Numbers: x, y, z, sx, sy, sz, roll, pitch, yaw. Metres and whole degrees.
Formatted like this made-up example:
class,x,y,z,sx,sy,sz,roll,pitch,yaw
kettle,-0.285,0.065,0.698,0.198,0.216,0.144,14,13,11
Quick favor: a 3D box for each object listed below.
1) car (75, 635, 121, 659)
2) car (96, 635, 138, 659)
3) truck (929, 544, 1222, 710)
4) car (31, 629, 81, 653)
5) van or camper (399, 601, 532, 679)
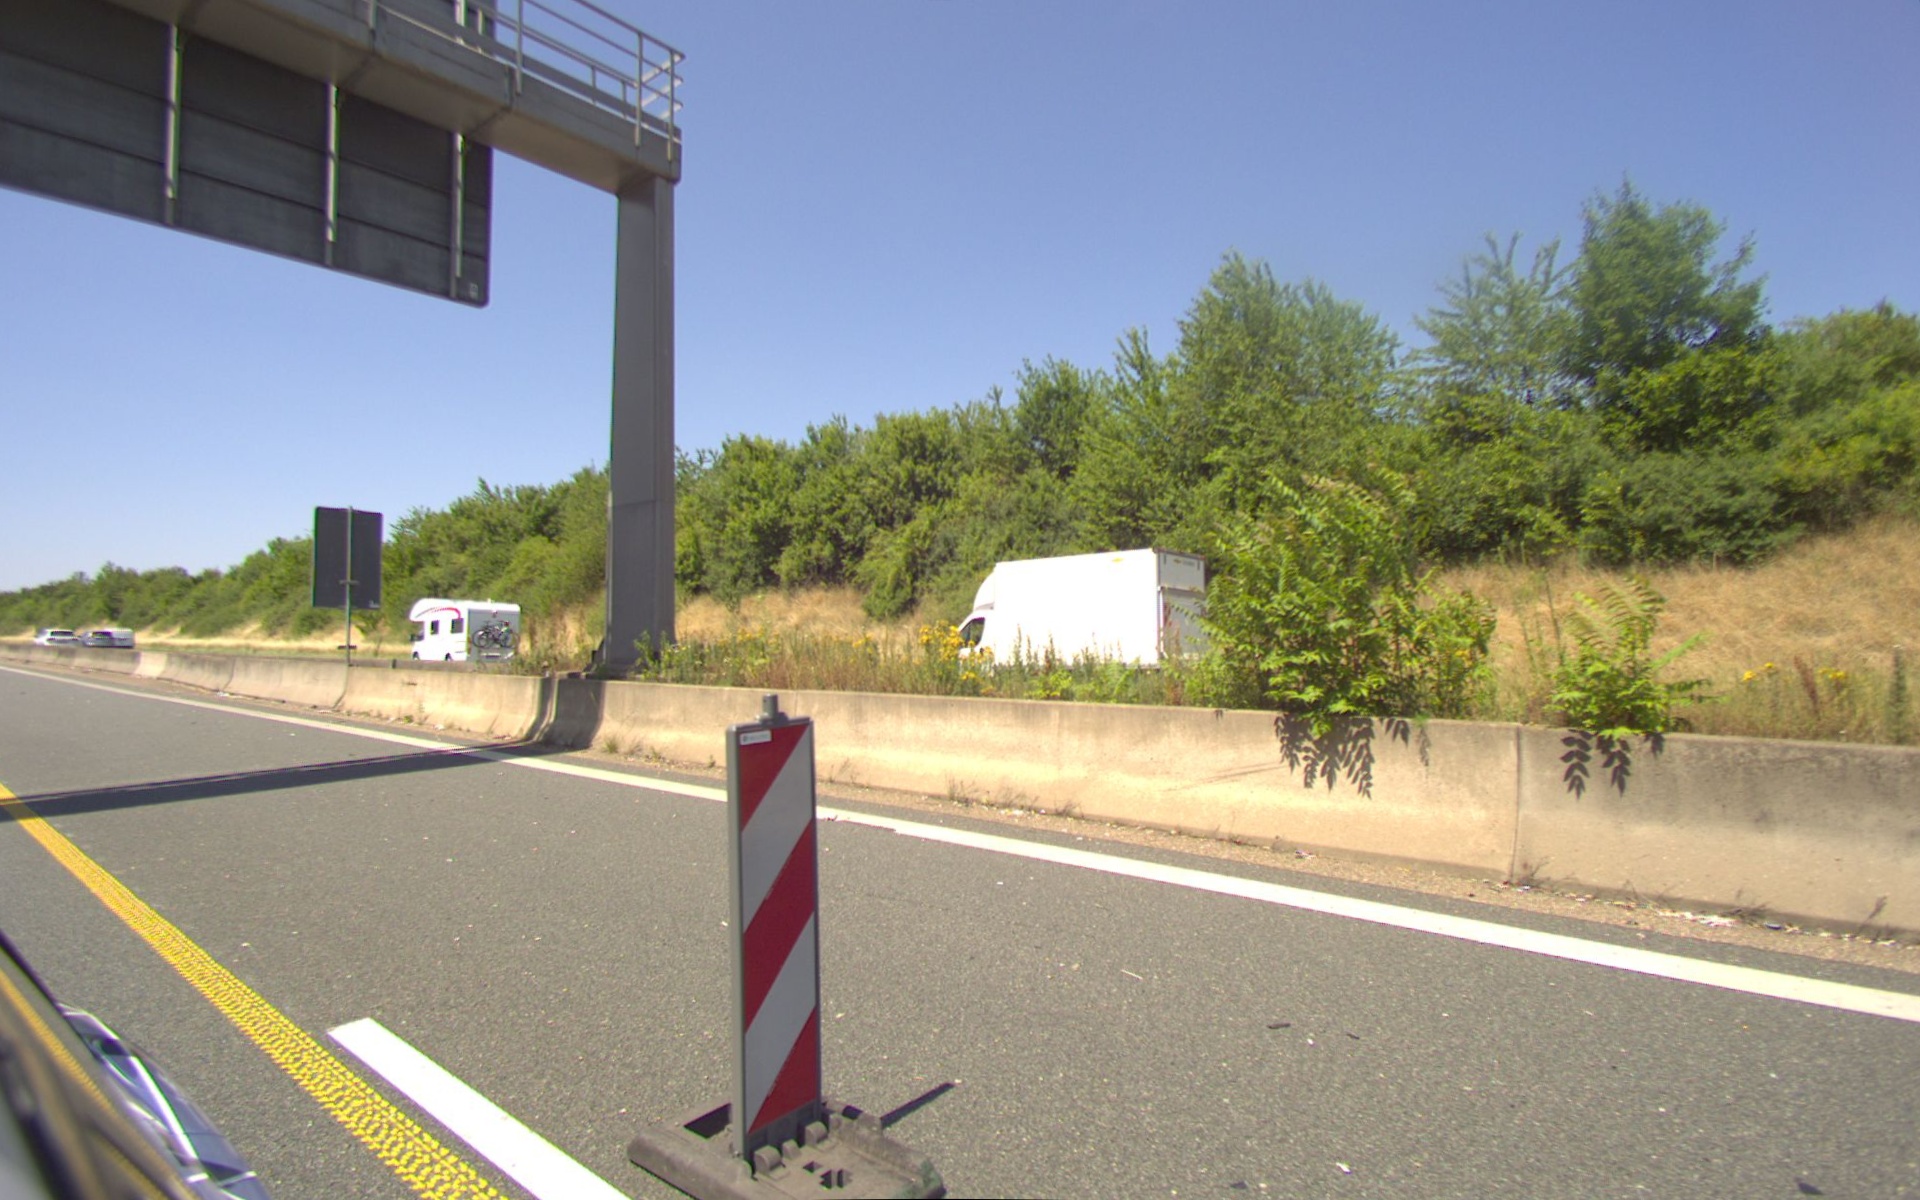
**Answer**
class,x,y,z,sx,sy,sz,roll,pitch,yaw
car,-65.470,3.557,76.825,4.619,1.796,1.973,-2,-3,41
car,-74.425,4.124,89.284,5.592,2.029,1.910,-3,-4,41
truck,2.462,0.634,23.031,6.361,3.284,2.469,-2,-3,41
car,-58.472,2.649,65.444,4.354,1.467,1.891,-2,-1,41
van or camper,-21.758,1.736,44.304,7.622,3.171,2.410,-2,-3,41
